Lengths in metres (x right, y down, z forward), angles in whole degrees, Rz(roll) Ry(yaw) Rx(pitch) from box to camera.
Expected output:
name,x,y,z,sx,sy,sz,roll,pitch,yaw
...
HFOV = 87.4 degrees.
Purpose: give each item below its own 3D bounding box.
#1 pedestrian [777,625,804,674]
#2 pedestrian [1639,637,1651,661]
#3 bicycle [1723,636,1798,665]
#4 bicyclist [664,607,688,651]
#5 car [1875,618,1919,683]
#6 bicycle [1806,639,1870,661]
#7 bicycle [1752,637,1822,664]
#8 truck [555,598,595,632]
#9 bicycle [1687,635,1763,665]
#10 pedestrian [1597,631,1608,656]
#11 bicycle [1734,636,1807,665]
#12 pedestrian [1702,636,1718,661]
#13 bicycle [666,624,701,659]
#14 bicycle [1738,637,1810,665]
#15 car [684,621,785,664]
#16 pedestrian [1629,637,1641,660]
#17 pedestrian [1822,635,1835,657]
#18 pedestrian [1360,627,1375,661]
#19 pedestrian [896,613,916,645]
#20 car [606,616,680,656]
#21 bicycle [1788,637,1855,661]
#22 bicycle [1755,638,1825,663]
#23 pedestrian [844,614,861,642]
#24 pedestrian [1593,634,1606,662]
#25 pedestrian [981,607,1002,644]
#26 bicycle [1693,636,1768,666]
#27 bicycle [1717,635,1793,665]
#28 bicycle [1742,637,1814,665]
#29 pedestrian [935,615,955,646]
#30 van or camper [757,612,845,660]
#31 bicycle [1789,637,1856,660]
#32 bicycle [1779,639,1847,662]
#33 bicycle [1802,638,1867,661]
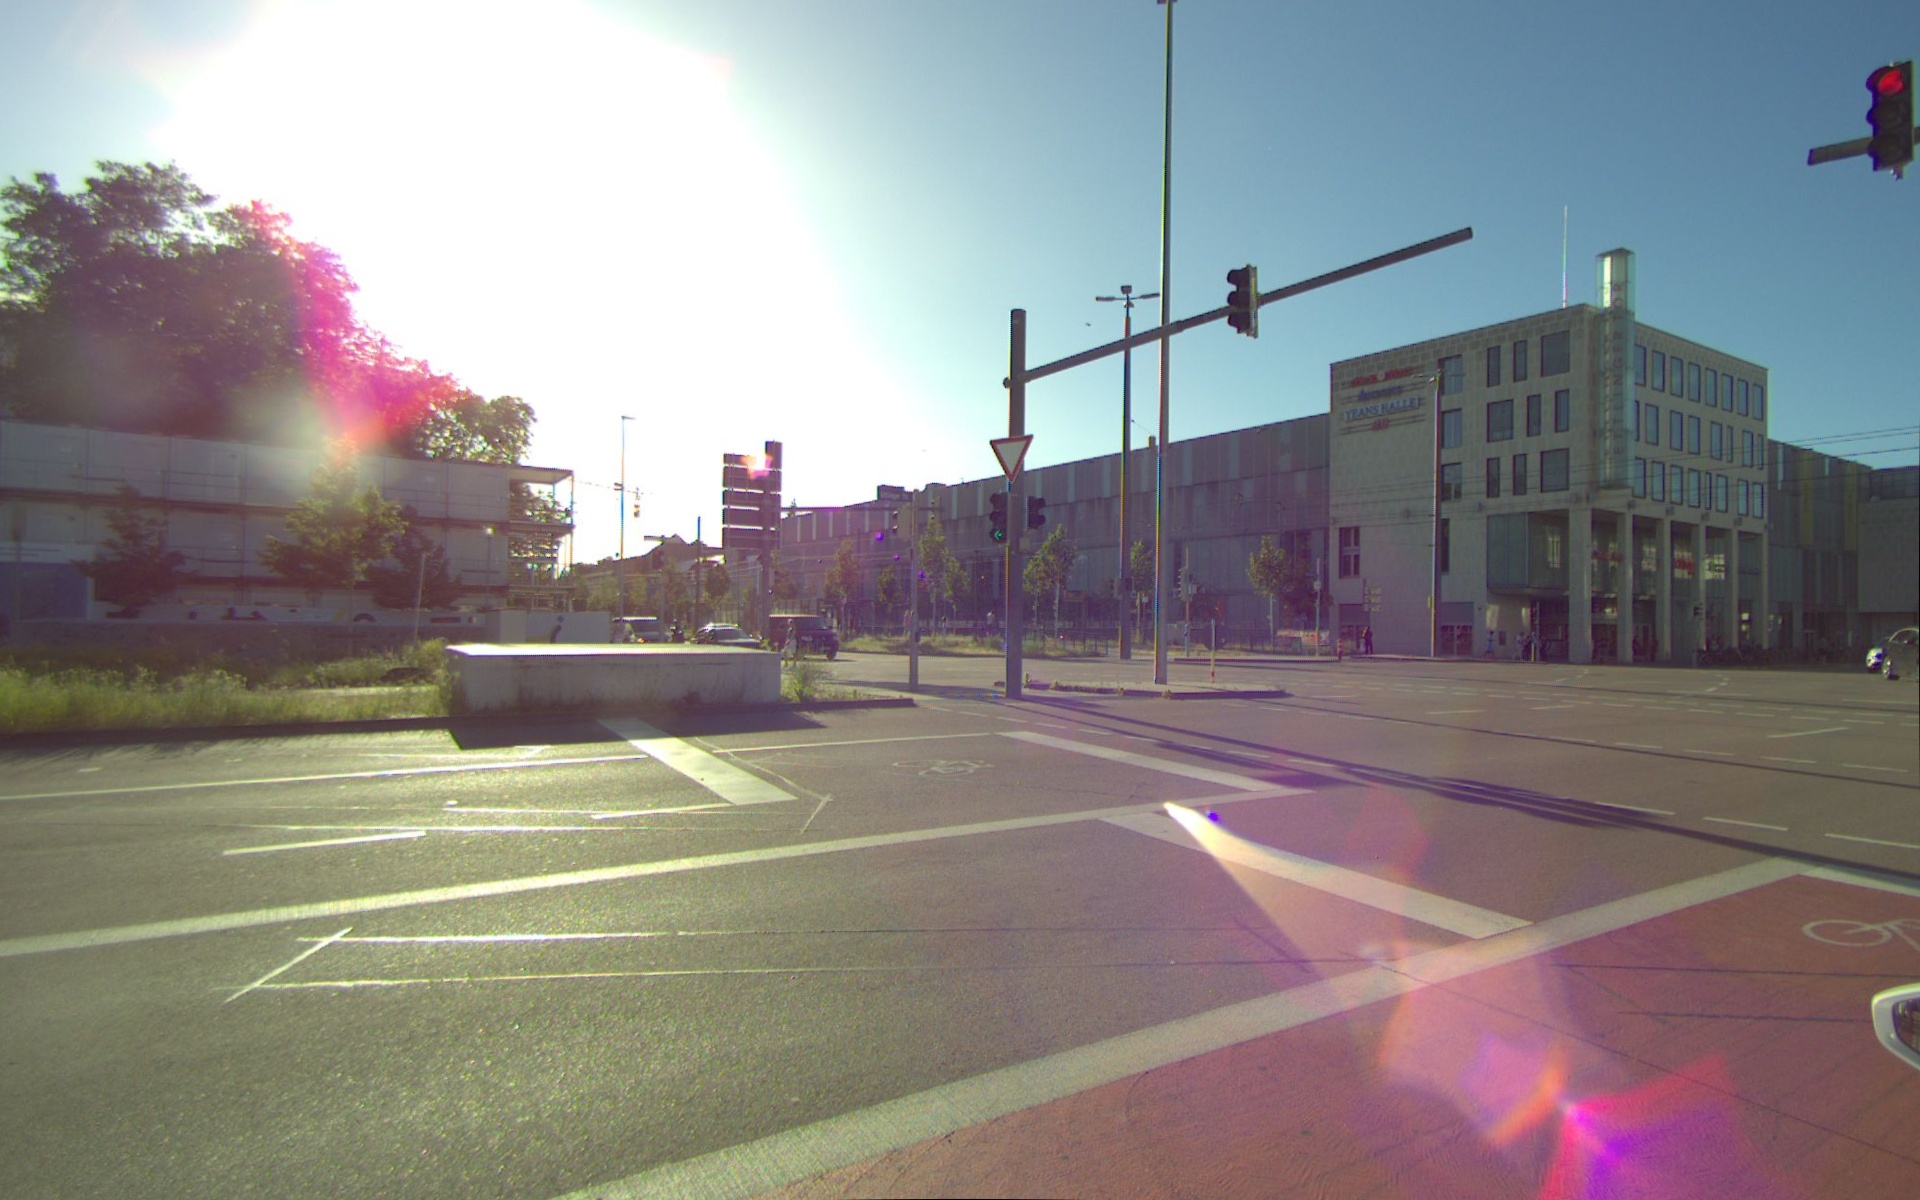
name,x,y,z,sx,sy,sz,roll,pitch,yaw
pedestrian,-5.870,1.698,34.742,0.619,1.674,0.935,1,-1,-30
pedestrian,45.036,3.208,66.021,0.508,1.530,0.479,1,-1,-34
bicycle,49.151,3.076,61.740,1.107,1.719,3.465,1,-2,-38
bicyclist,-17.506,1.783,61.887,1.007,2.677,1.610,1,-1,-34
car,26.982,1.350,27.556,1.966,1.623,4.940,1,0,33
bicycle,64.514,3.641,73.851,0.979,1.547,3.462,2,-2,-40
bicycle,54.513,3.316,66.253,0.979,1.719,3.462,1,-2,-40
truck,-33.468,1.323,87.260,1.979,2.875,6.293,1,-2,-33
bicycle,45.707,2.973,60.034,1.107,1.719,3.465,1,-2,-38
pedestrian,41.632,2.825,65.067,0.493,1.606,0.426,1,-1,-34
bicycle,51.127,3.186,63.425,0.979,1.719,3.462,1,-2,-40
pedestrian,50.090,3.216,67.120,0.776,1.664,0.690,-1,-2,45
bicycle,-16.700,2.464,60.585,1.007,2.040,3.472,1,-2,-33
bicycle,51.953,3.223,64.159,0.979,1.719,3.462,1,-2,-40
car,-9.392,1.702,41.519,2.313,1.671,4.821,1,-2,-37
pedestrian,44.285,3.184,65.925,0.508,1.530,0.508,1,-1,-34
pedestrian,66.833,3.516,77.309,0.689,1.664,0.648,1,-1,-38
pedestrian,20.745,2.241,51.161,0.542,1.716,0.523,1,-1,-32
pedestrian,-3.238,1.735,60.325,0.889,1.855,0.787,1,-1,-35
car,-15.568,1.719,49.165,1.981,1.849,4.821,1,-2,-36
bicycle,60.390,3.429,70.471,0.979,1.547,3.462,2,-2,-40
bicycle,55.264,3.325,66.922,0.979,1.547,3.462,2,-2,-40
pedestrian,-7.044,1.825,65.840,0.889,1.855,0.787,1,-1,-35
pedestrian,37.761,2.817,59.286,0.547,1.664,0.535,2,-2,-45
pedestrian,1.591,1.298,50.600,0.788,1.855,0.706,1,-1,-37
bicycle,46.641,3.058,60.843,1.107,1.719,3.465,1,-2,-38
bicycle,48.222,3.009,60.940,1.107,1.719,3.465,1,-2,-38
bicycle,52.867,3.255,64.963,0.979,1.719,3.462,1,-2,-40
pedestrian,-0.889,1.807,59.618,0.889,1.855,0.787,1,-1,-35
van or camper,-7.283,1.591,45.641,1.981,2.040,4.821,1,-2,-36
bicycle,61.197,3.447,71.303,0.979,1.547,3.462,2,-2,-40
bicycle,58.882,3.475,69.390,0.979,1.547,3.462,2,-2,-40
bicycle,63.714,3.585,73.203,0.979,1.547,3.462,2,-2,-40
